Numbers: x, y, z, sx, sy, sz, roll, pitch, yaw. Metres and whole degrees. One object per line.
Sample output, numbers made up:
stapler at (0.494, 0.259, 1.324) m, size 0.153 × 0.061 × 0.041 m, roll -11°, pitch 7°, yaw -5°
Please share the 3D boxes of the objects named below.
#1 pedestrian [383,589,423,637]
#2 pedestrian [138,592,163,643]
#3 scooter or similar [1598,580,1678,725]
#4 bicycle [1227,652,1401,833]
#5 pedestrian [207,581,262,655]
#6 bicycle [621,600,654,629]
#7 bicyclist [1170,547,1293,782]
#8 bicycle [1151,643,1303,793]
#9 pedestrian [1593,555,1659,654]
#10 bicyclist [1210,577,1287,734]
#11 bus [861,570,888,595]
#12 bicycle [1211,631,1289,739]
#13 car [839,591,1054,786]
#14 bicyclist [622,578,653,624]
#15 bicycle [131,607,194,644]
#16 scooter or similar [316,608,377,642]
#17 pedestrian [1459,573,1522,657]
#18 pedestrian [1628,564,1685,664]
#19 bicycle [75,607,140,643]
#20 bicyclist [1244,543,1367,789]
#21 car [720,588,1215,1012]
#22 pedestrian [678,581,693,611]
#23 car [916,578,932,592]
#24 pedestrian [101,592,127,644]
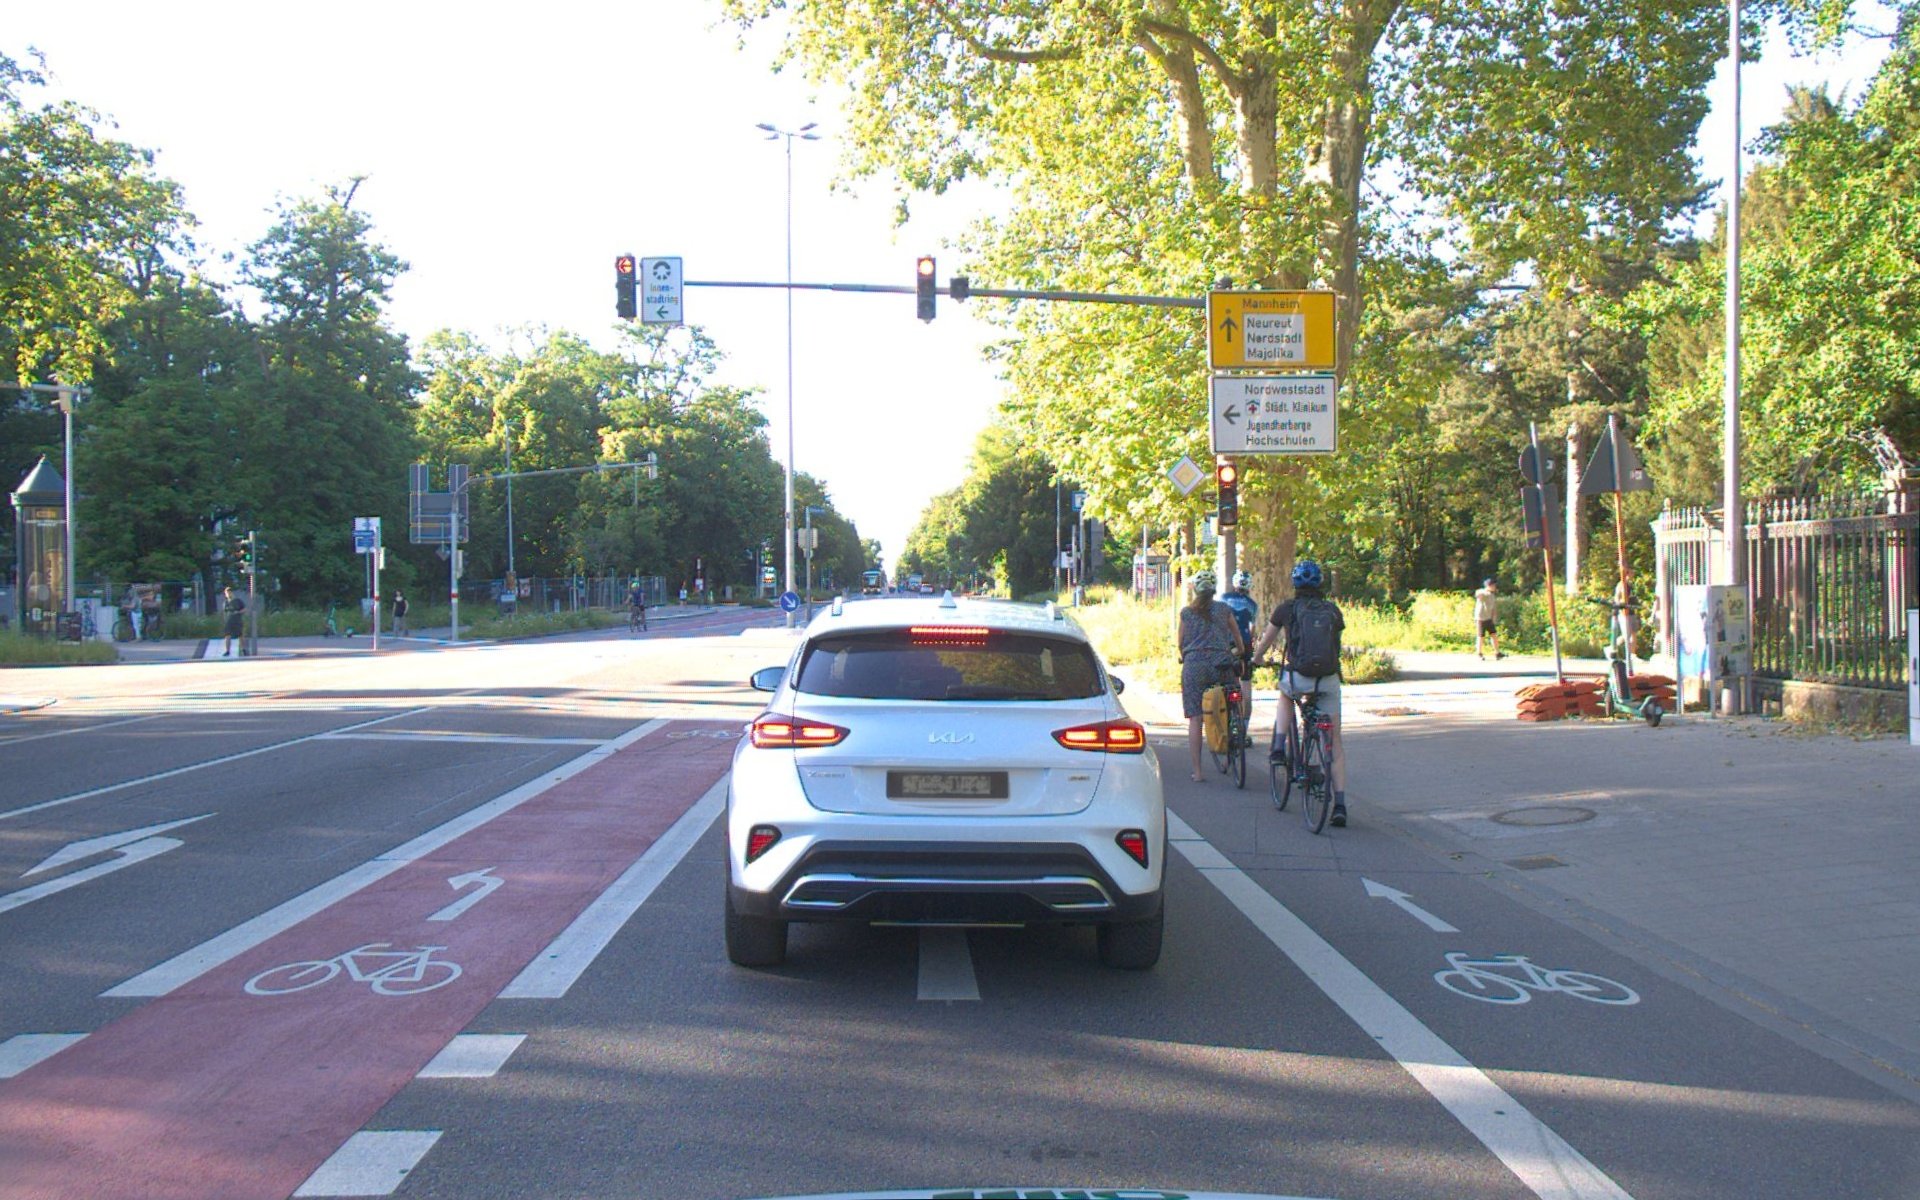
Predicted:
pedestrian at (-19.058, 0.437, 56.595) m, size 1.067 × 1.631 × 0.999 m, roll -1°, pitch 0°, yaw -7°
pedestrian at (-26.119, 0.561, 53.359) m, size 0.617 × 1.608 × 0.444 m, roll 0°, pitch 0°, yaw -11°
scooter or similar at (6.545, 0.484, 15.997) m, size 0.223 × 1.350 × 1.171 m, roll -1°, pitch 0°, yaw -2°
bicycle at (2.363, 0.916, 11.294) m, size 0.655 × 1.027 × 2.080 m, roll 1°, pitch 1°, yaw -2°
pedestrian at (-20.423, 0.497, 46.579) m, size 0.974 × 2.049 × 1.191 m, roll 0°, pitch 0°, yaw 4°
bicycle at (-11.784, 0.531, 60.513) m, size 0.650 × 1.006 × 2.504 m, roll -1°, pitch 1°, yaw 1°
bicyclist at (2.202, 0.500, 13.539) m, size 0.738 × 1.827 × 1.164 m, roll 1°, pitch 0°, yaw -2°
bicycle at (2.179, 0.935, 13.860) m, size 0.742 × 1.031 × 2.568 m, roll 1°, pitch 1°, yaw -2°
pedestrian at (12.345, 0.078, 30.677) m, size 0.802 × 1.802 × 0.831 m, roll -1°, pitch 0°, yaw -8°
bicyclist at (2.879, 0.541, 16.564) m, size 0.543 × 1.504 × 0.716 m, roll -3°, pitch 0°, yaw -2°
bus at (-13.062, -2.646, 250.715) m, size 3.668 × 3.737 × 13.228 m, roll -1°, pitch 1°, yaw -5°
bicycle at (2.878, 0.827, 16.511) m, size 0.393 × 0.973 × 1.550 m, roll -3°, pitch 0°, yaw -2°
car at (-0.177, 0.698, 15.015) m, size 1.694 × 1.509 × 3.515 m, roll -1°, pitch 1°, yaw -3°
bicyclist at (-11.793, 0.025, 60.539) m, size 0.857 × 1.636 × 1.188 m, roll -1°, pitch 0°, yaw 1°
bicycle at (-25.880, 0.823, 53.666) m, size 1.826 × 1.168 × 0.290 m, roll 0°, pitch 0°, yaw -8°
scooter or similar at (-20.805, 0.840, 56.143) m, size 0.697 × 1.144 × 1.916 m, roll 0°, pitch 0°, yaw 32°
pedestrian at (9.829, 0.274, 30.659) m, size 0.802 × 1.544 × 0.915 m, roll 0°, pitch 0°, yaw -6°
pedestrian at (12.301, 0.242, 29.214) m, size 0.676 × 1.729 × 0.643 m, roll -1°, pitch 0°, yaw -7°
bicycle at (-27.761, 0.822, 53.862) m, size 1.826 × 1.168 × 0.442 m, roll 0°, pitch 0°, yaw -8°
bicyclist at (2.367, 0.436, 11.387) m, size 0.652 × 1.630 × 0.720 m, roll 1°, pitch 0°, yaw -2°
car at (-0.041, 0.700, 7.929) m, size 1.785 × 1.506 × 3.934 m, roll 0°, pitch 1°, yaw -2°
pedestrian at (-16.679, -0.250, 100.413) m, size 0.769 × 1.817 × 0.751 m, roll 0°, pitch 0°, yaw 0°
car at (-5.322, -2.191, 243.251) m, size 1.955 × 2.049 × 3.995 m, roll -1°, pitch 1°, yaw -6°
pedestrian at (-27.371, 0.582, 53.527) m, size 0.617 × 1.671 × 0.444 m, roll 0°, pitch 0°, yaw -11°
